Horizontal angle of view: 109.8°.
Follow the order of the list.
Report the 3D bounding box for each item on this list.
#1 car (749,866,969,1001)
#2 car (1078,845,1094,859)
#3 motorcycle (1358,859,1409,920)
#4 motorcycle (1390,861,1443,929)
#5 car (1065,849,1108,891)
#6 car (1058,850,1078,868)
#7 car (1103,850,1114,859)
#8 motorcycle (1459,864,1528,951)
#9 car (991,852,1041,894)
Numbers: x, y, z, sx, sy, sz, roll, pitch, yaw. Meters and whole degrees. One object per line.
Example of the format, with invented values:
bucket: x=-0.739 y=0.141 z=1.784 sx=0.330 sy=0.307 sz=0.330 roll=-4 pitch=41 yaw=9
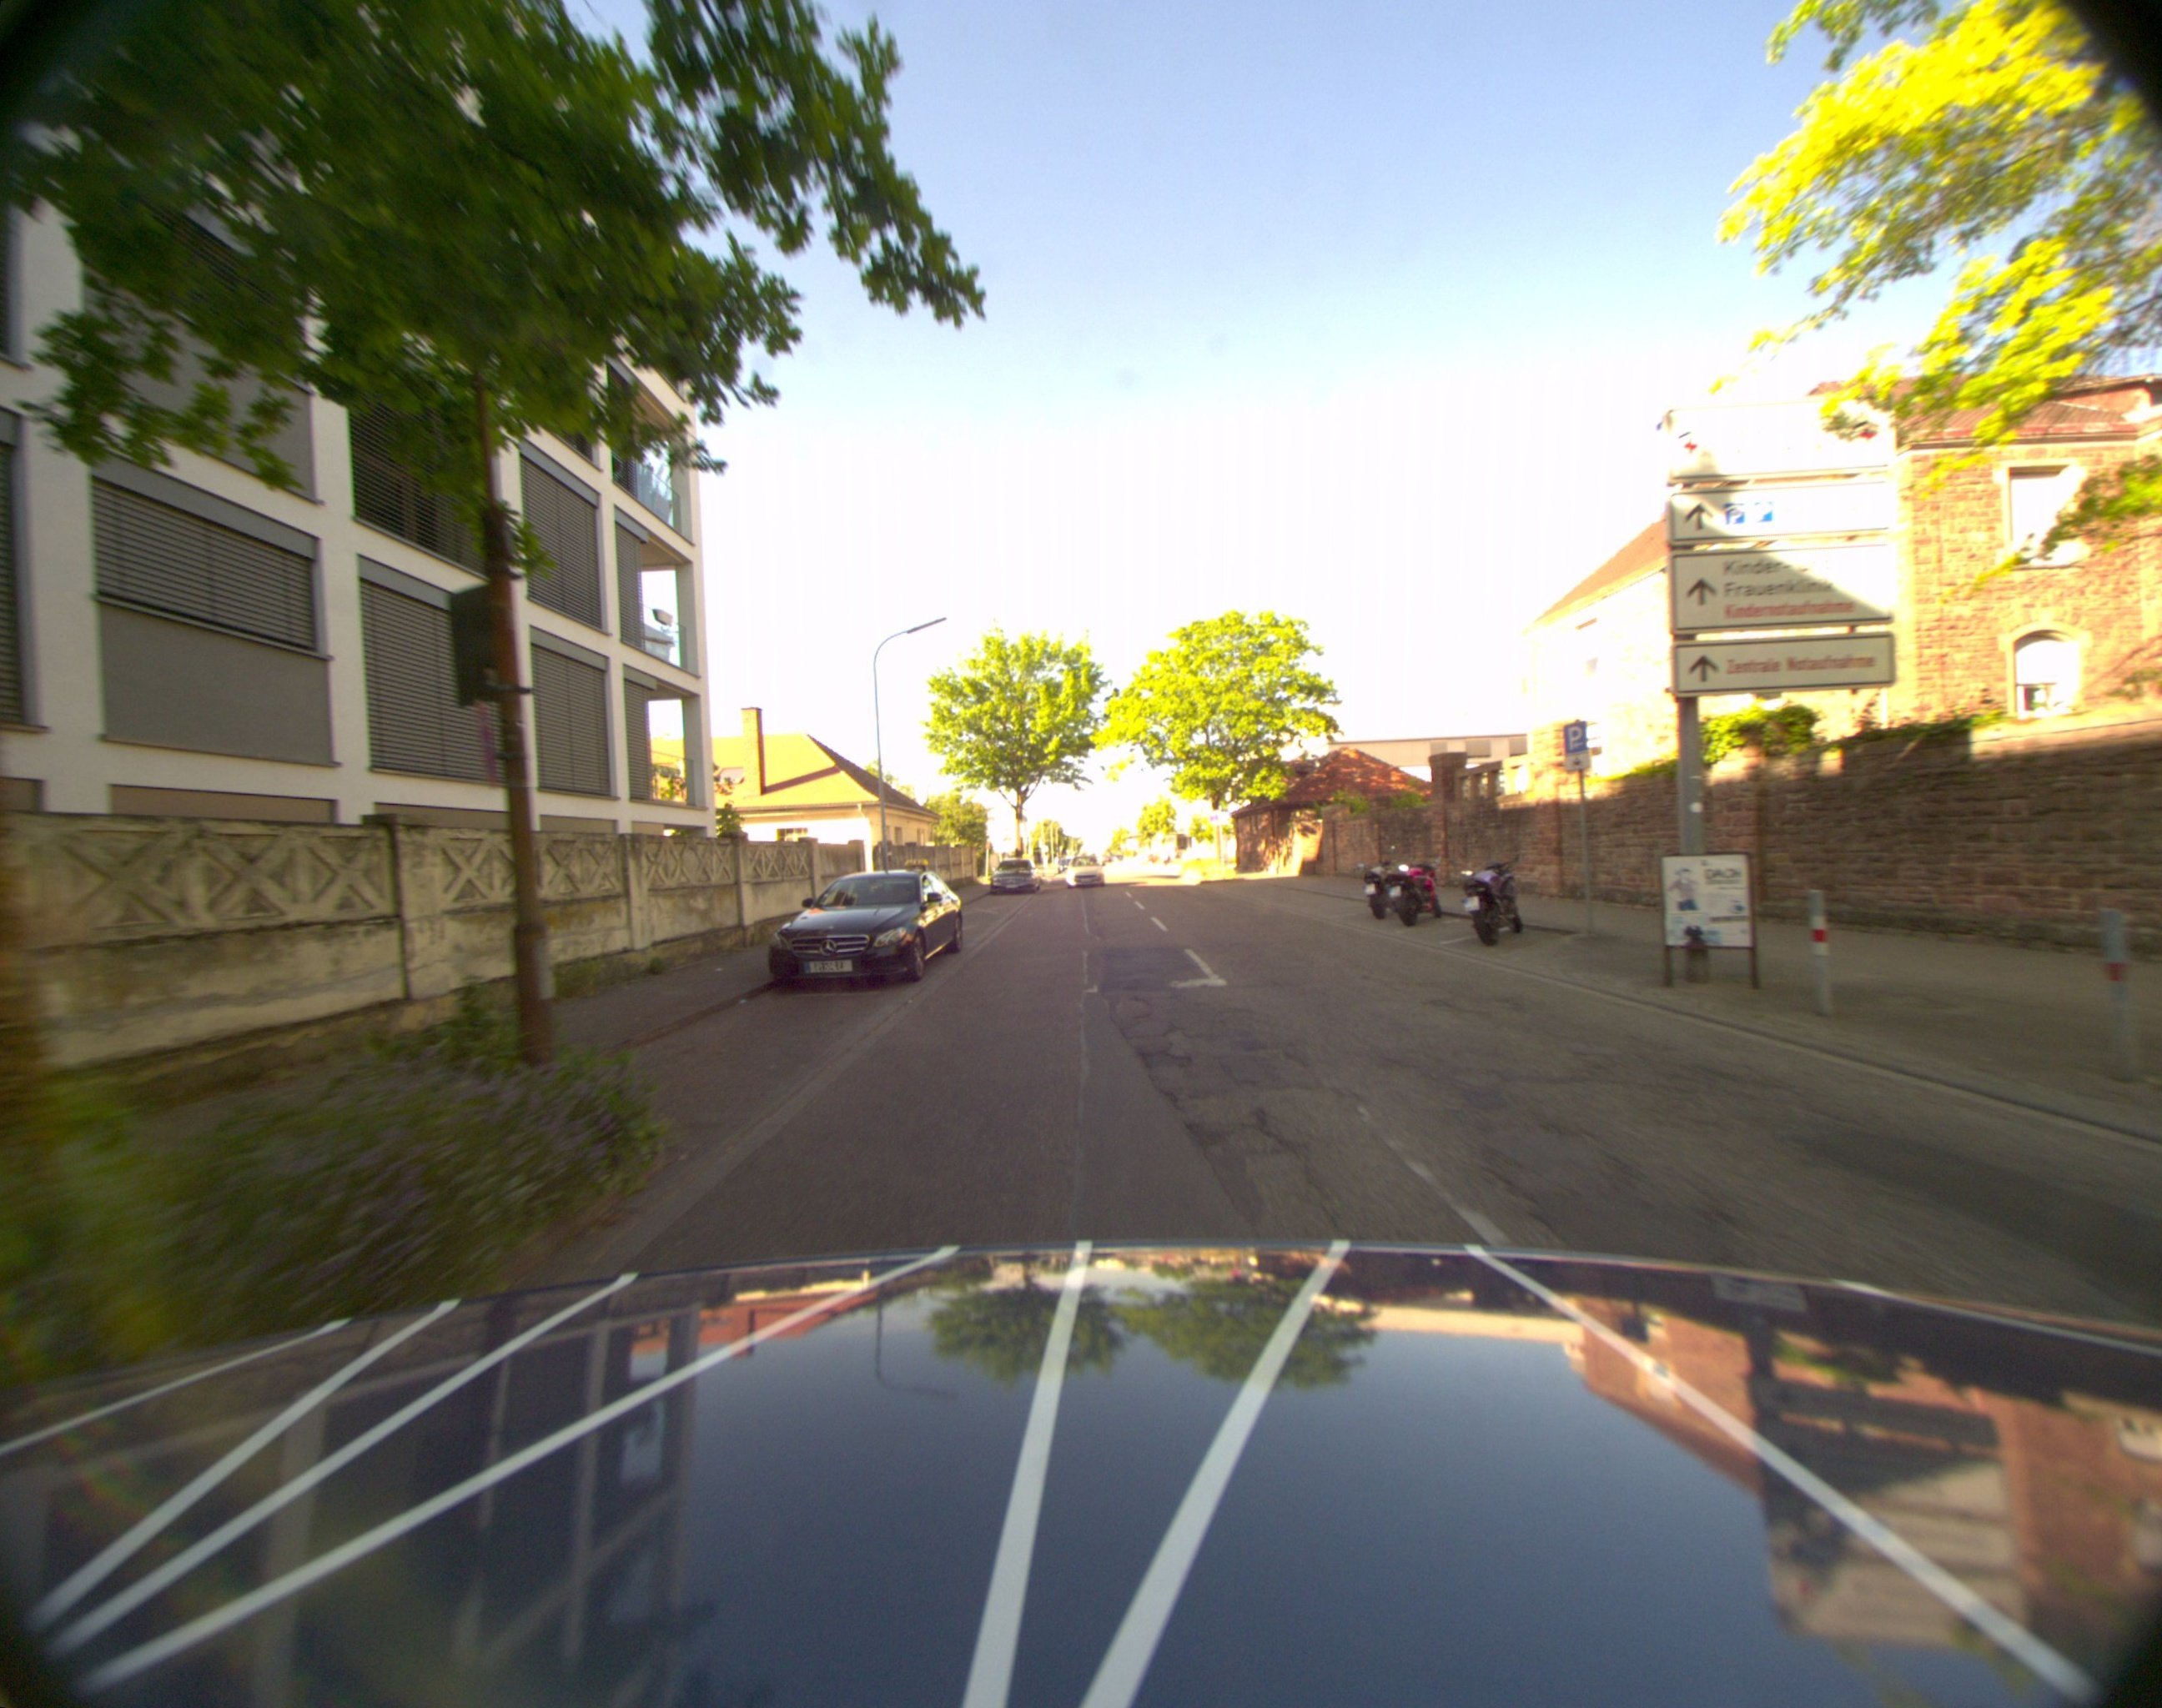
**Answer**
car: x=-2.967 y=0.977 z=11.314 sx=1.724 sy=1.402 sz=4.763 roll=-4 pitch=0 yaw=1
car: x=0.686 y=-0.279 z=98.319 sx=1.998 sy=1.668 sz=4.000 roll=-4 pitch=0 yaw=1
motorcycle: x=6.145 y=0.698 z=15.366 sx=0.530 sy=1.033 sz=2.094 roll=-4 pitch=1 yaw=32
motorcycle: x=6.147 y=0.716 z=13.846 sx=0.530 sy=1.033 sz=2.094 roll=-4 pitch=1 yaw=32
car: x=0.286 y=0.687 z=35.130 sx=1.748 sy=1.613 sz=4.106 roll=-5 pitch=1 yaw=2
car: x=-1.235 y=0.451 z=71.879 sx=1.757 sy=1.459 sz=3.485 roll=-5 pitch=1 yaw=-1
car: x=5.533 y=0.063 z=153.422 sx=1.998 sy=1.406 sz=3.999 roll=-6 pitch=1 yaw=1
motorcycle: x=5.986 y=0.725 z=10.952 sx=0.600 sy=1.026 sz=2.131 roll=-3 pitch=0 yaw=35
car: x=-2.720 y=0.762 z=32.549 sx=1.888 sy=1.592 sz=4.297 roll=-2 pitch=0 yaw=-3
